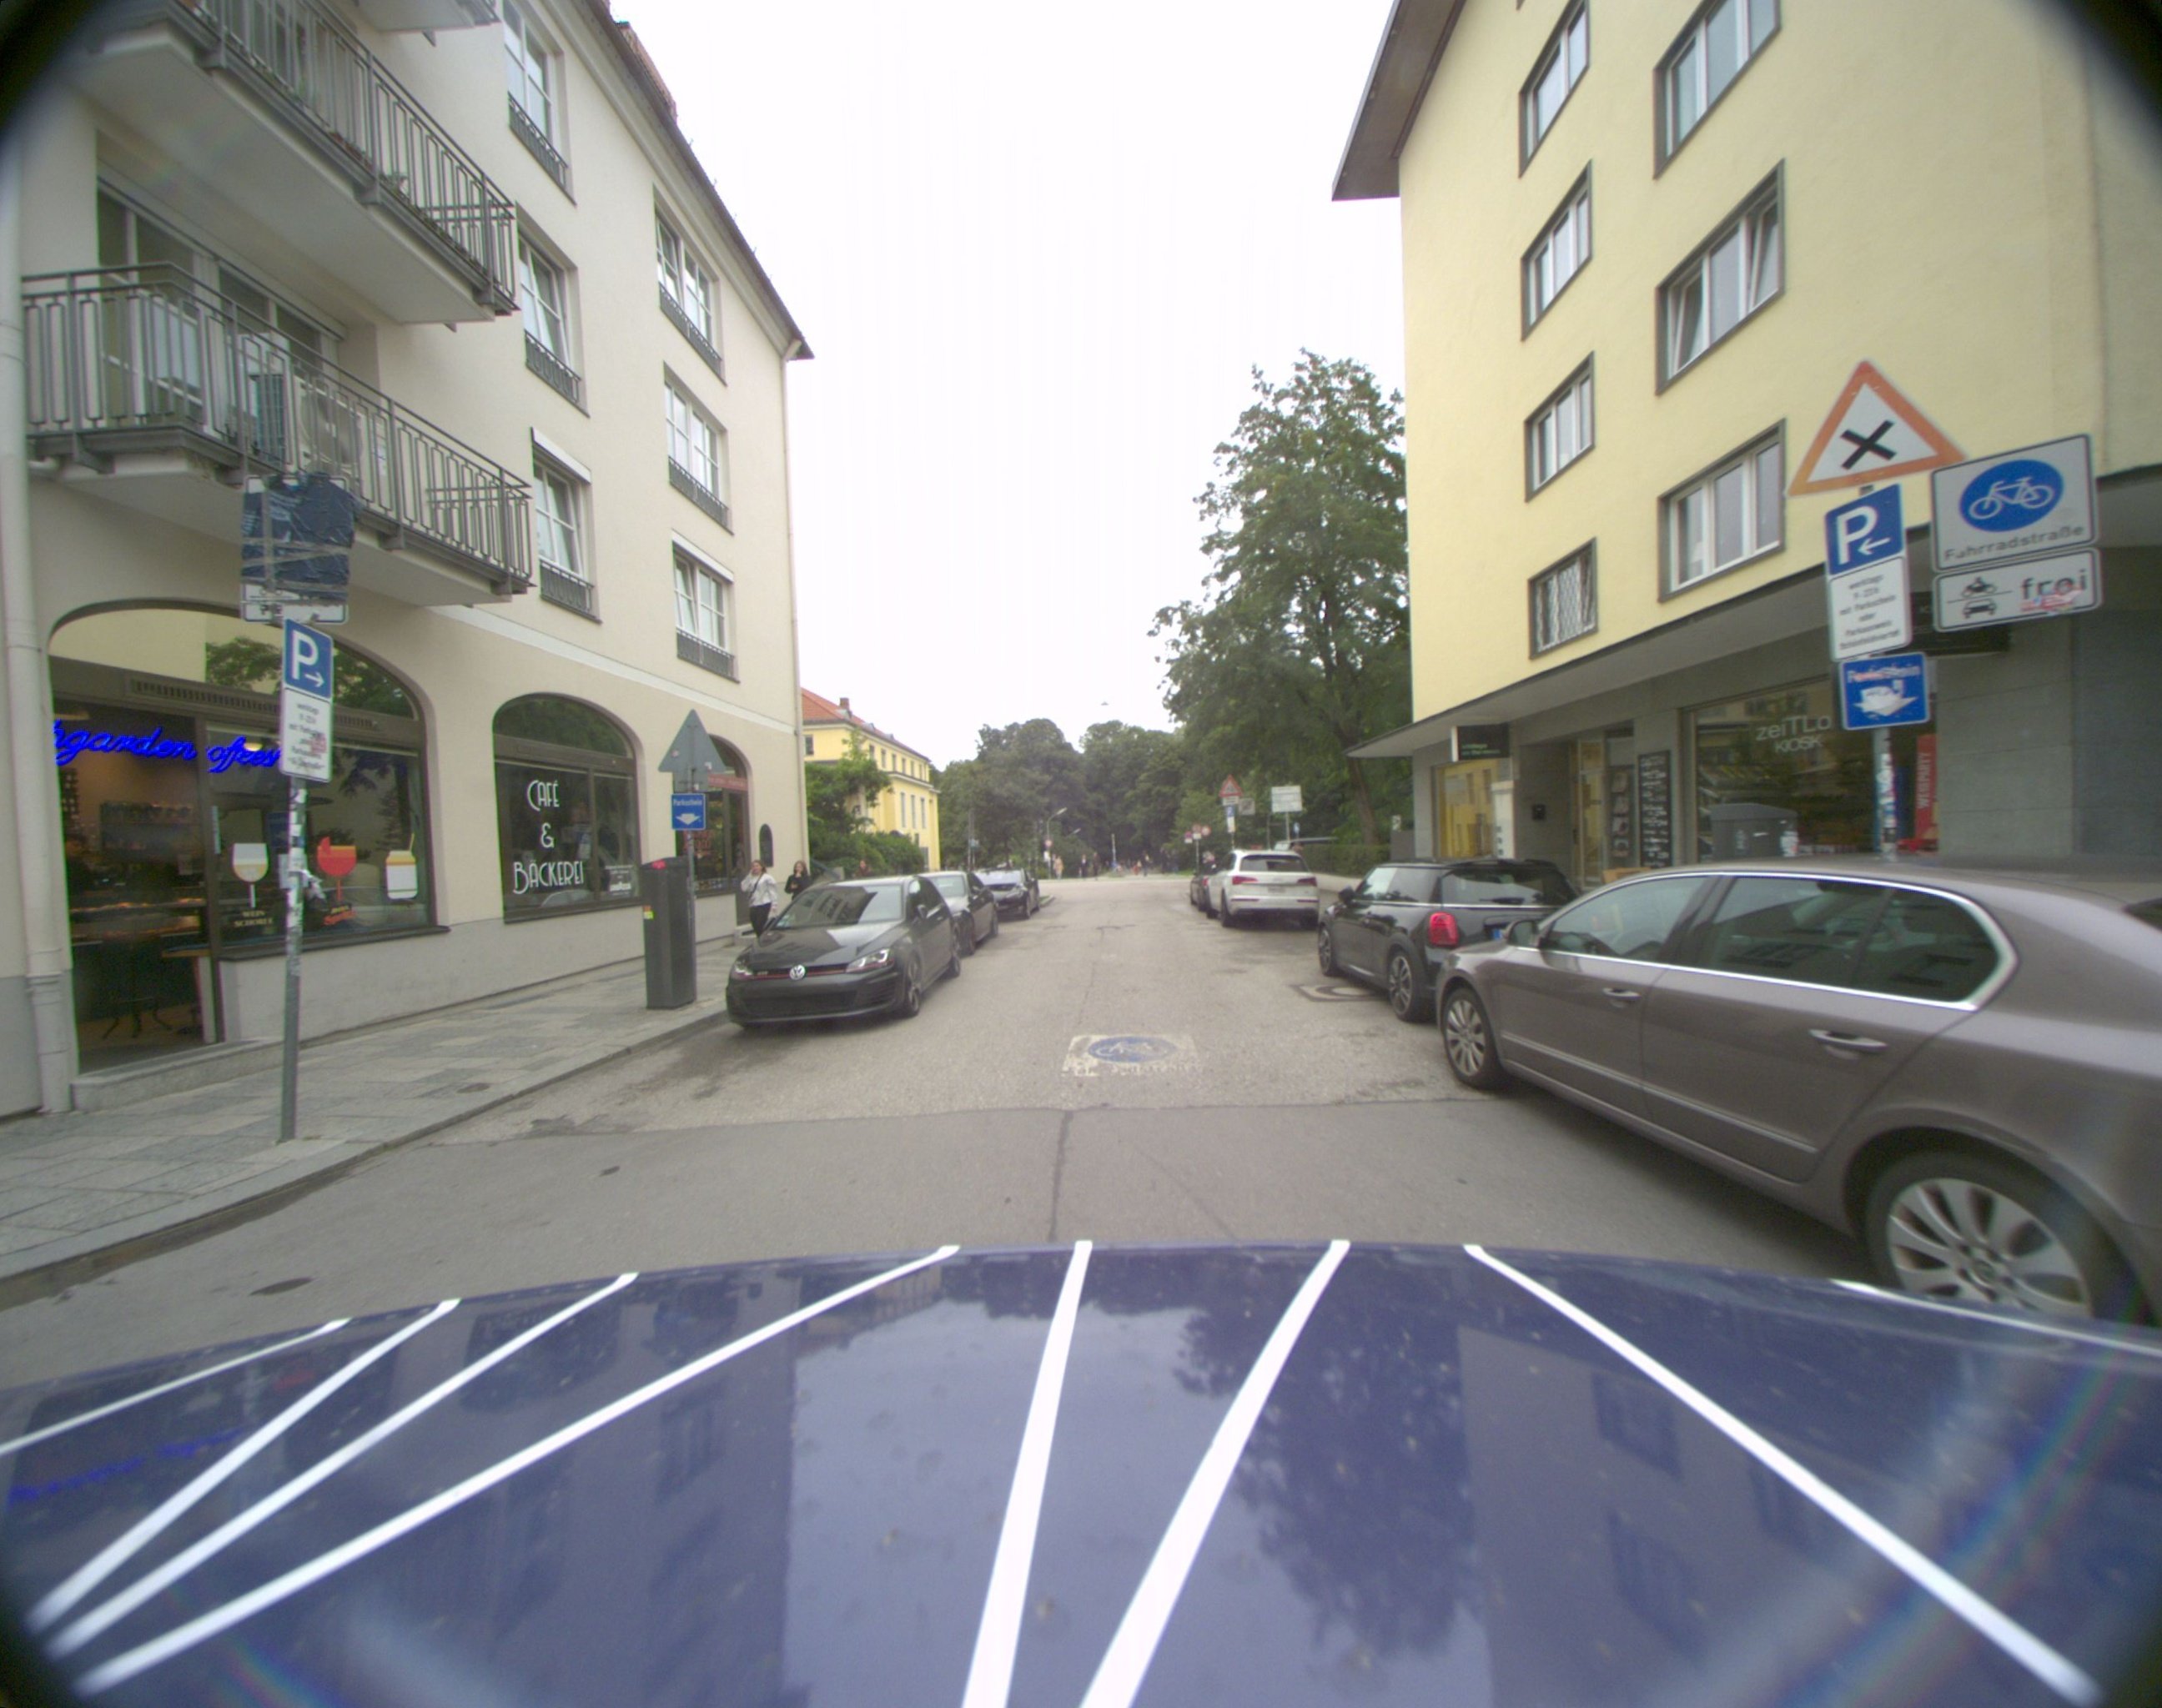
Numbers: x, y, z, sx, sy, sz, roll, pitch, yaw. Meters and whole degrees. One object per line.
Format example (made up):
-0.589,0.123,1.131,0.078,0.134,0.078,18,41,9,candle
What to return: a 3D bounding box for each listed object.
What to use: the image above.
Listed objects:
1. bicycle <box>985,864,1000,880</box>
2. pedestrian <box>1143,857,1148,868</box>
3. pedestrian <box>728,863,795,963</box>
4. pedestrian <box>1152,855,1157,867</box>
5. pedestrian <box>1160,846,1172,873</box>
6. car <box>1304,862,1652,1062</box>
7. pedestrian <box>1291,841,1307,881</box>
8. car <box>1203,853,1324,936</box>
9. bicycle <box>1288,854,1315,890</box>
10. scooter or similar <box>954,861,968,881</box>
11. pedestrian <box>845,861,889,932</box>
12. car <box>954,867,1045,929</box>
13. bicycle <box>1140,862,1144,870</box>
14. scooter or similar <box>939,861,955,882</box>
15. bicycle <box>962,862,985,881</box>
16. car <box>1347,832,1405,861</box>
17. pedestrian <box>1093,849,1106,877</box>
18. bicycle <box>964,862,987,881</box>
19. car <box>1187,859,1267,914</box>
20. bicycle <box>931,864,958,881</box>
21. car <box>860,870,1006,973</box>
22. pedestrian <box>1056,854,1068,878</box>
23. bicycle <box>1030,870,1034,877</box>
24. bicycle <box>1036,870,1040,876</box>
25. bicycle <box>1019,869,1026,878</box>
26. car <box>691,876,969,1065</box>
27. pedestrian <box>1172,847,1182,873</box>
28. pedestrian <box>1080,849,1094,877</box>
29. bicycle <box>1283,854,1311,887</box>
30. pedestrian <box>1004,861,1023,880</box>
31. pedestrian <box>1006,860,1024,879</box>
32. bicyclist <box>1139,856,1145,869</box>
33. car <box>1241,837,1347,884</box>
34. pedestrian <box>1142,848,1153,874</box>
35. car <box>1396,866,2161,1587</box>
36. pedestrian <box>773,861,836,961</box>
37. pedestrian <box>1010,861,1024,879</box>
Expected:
-5.815,1.204,50.040,0.307,1.032,1.657,0,-1,17,bicycle
9.911,1.331,116.877,0.685,1.662,0.774,-4,-2,4,pedestrian
-5.630,1.018,13.435,0.706,1.652,0.880,-2,2,2,pedestrian
11.053,1.078,114.215,0.685,1.662,0.774,-4,-2,4,pedestrian
5.905,0.393,52.832,0.707,1.892,0.804,-1,-1,3,pedestrian
3.652,0.861,7.900,1.683,1.463,4.098,-1,0,4,car
9.997,0.334,34.849,0.560,1.788,0.641,-2,-1,21,pedestrian
3.844,0.804,16.762,1.807,1.574,4.339,-1,-1,3,car
7.946,0.621,27.437,0.563,1.203,1.854,-3,1,5,bicycle
-7.292,1.045,46.280,0.324,1.205,1.114,-1,0,-38,scooter or similar
-5.153,1.013,18.342,0.706,1.613,0.880,-2,2,2,pedestrian
-2.203,1.164,21.785,1.807,1.402,4.657,-3,0,3,car
9.047,1.758,112.518,0.483,1.035,1.947,-2,0,5,bicycle
-8.143,1.035,46.185,0.396,1.240,1.391,-1,-1,12,scooter or similar
-6.822,1.101,48.241,0.202,1.184,1.658,-1,-1,44,bicycle
23.991,-0.592,61.800,3.958,2.093,1.908,-2,2,34,car
1.147,0.582,47.040,0.639,1.662,0.774,-4,-2,4,pedestrian
-6.681,1.090,48.102,0.169,1.191,1.658,-1,-1,44,bicycle
4.162,0.886,22.209,1.749,1.402,4.098,-1,0,3,car
-8.466,1.143,47.115,1.656,0.987,0.248,0,-1,-21,bicycle
-2.577,1.124,14.339,1.650,1.416,4.510,-4,0,2,car
-1.368,0.847,54.212,0.653,1.676,0.976,-4,-2,4,pedestrian
-4.509,1.791,70.102,0.215,0.671,0.910,0,-1,6,bicycle
-4.229,1.872,74.635,0.242,0.653,0.909,0,-1,4,bicycle
-4.856,1.621,63.111,0.215,0.671,0.910,0,-1,15,bicycle
-2.526,1.091,8.803,1.679,1.416,4.203,-4,0,1,car
6.685,0.430,52.769,0.634,1.771,0.801,-1,-1,3,pedestrian
0.358,0.585,46.630,0.685,1.662,0.774,-4,-2,4,pedestrian
8.445,0.625,29.677,0.582,1.120,2.301,-3,1,27,bicycle
-4.723,1.125,52.776,1.216,1.239,0.639,-3,-2,-8,pedestrian
-4.657,1.116,53.718,1.178,1.285,0.639,-3,-2,-8,pedestrian
9.032,1.269,112.570,0.856,1.792,0.767,-3,-1,3,bicyclist
10.091,0.254,36.113,4.421,1.990,1.933,-2,2,-12,car
4.701,0.530,53.723,0.751,1.822,1.115,-1,-1,3,pedestrian
3.212,0.856,3.247,1.683,1.463,4.949,-1,0,0,car
-4.859,0.984,13.411,0.706,1.652,0.880,-2,2,2,pedestrian
-4.606,1.124,54.368,0.887,1.227,0.550,-3,-2,-8,pedestrian
